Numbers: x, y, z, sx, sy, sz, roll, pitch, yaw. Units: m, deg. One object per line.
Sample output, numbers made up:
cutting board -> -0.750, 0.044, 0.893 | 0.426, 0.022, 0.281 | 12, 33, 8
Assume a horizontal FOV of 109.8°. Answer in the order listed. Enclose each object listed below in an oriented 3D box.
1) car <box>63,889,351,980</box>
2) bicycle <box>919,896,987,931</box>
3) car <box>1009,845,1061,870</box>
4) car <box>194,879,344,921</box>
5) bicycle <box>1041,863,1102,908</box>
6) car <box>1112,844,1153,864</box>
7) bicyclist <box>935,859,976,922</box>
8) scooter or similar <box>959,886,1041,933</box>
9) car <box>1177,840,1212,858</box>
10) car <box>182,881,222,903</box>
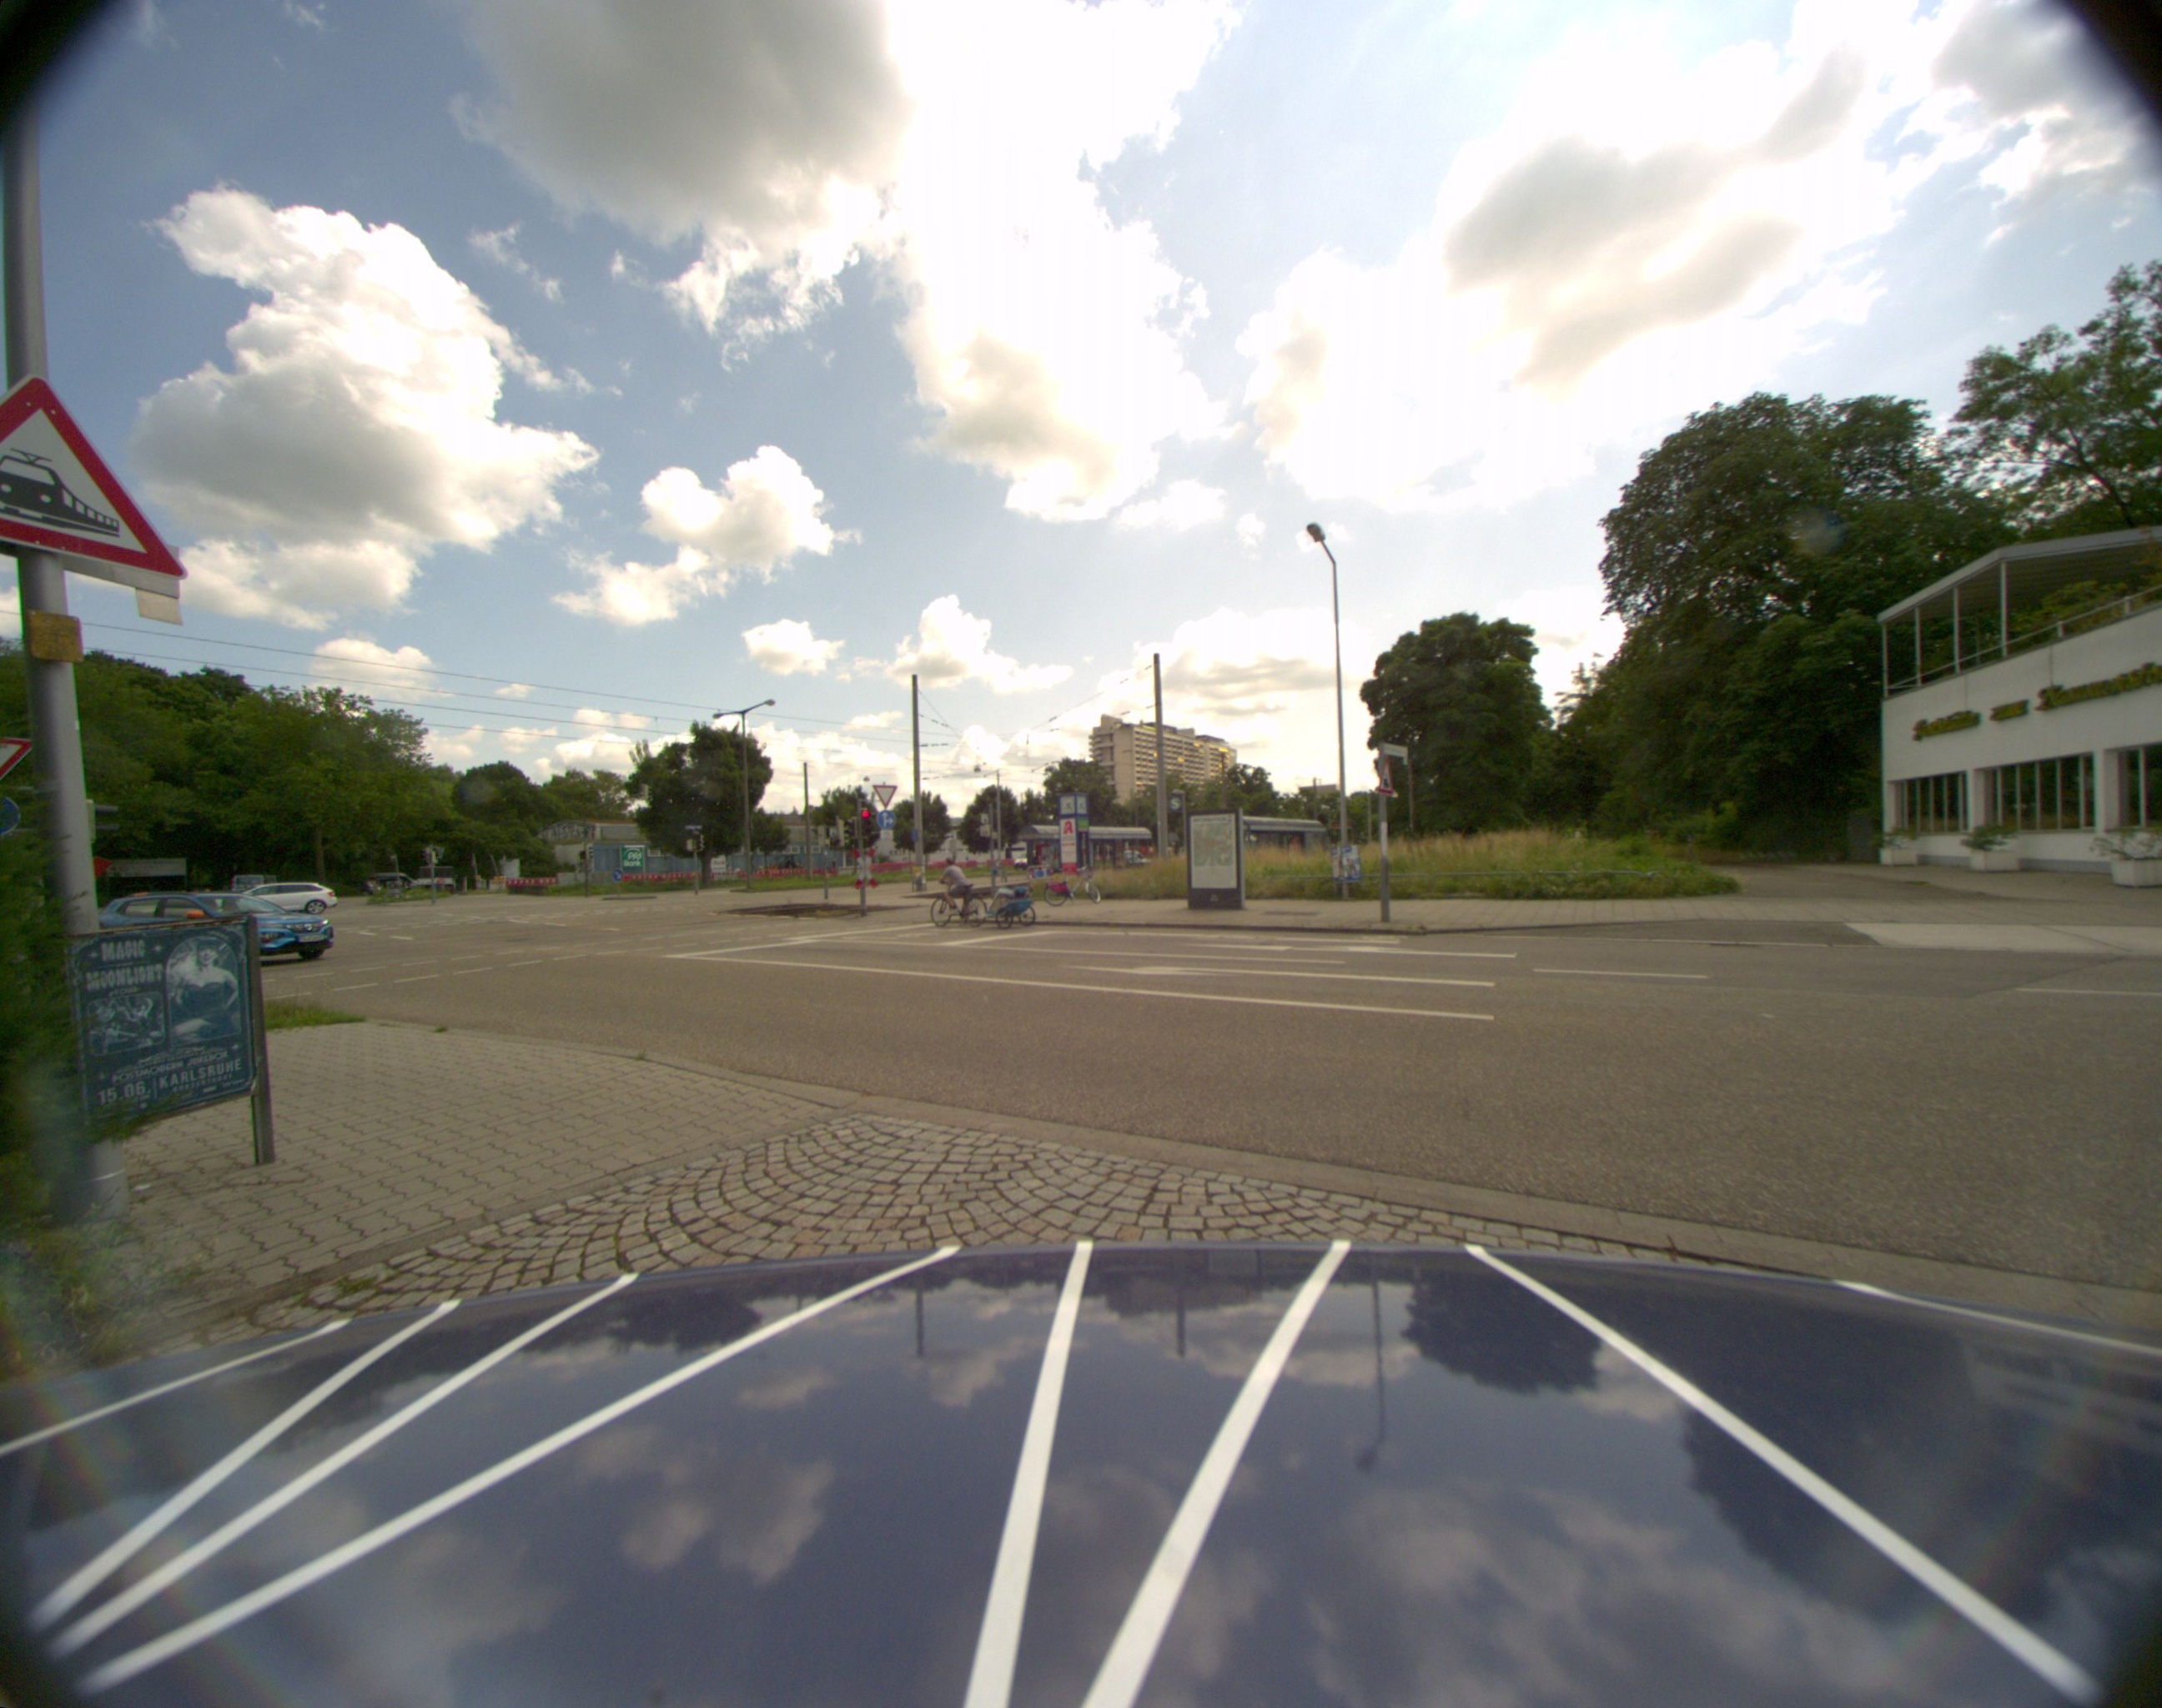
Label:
car -> -17.200, 1.550, 15.098 | 3.701, 1.455, 1.605 | -3, 0, -2
bicycle -> -3.099, 1.418, 18.310 | 1.723, 0.760, 0.556 | -1, 1, 37
car -> -4.089, 0.286, 68.628 | 1.994, 2.002, 4.841 | -2, 1, 36
car -> -35.492, 1.965, 33.326 | 1.994, 1.495, 4.181 | 0, 1, 35
bicycle -> -0.260, 0.901, 21.821 | 1.659, 1.126, 0.701 | -4, 1, 0
car -> 4.806, -0.025, 70.155 | 1.743, 1.775, 4.164 | 0, 2, 36
bicyclist -> -3.019, 0.875, 18.240 | 0.839, 1.467, 0.456 | -1, 1, 37
scooter or similar -> -1.851, 1.246, 17.276 | 1.575, 0.974, 0.964 | -2, 0, 37
car -> 12.793, -0.607, 85.608 | 1.814, 1.907, 5.242 | -2, 1, 33
car -> -67.616, 2.878, 58.419 | 3.609, 1.499, 1.623 | 0, 1, 35
